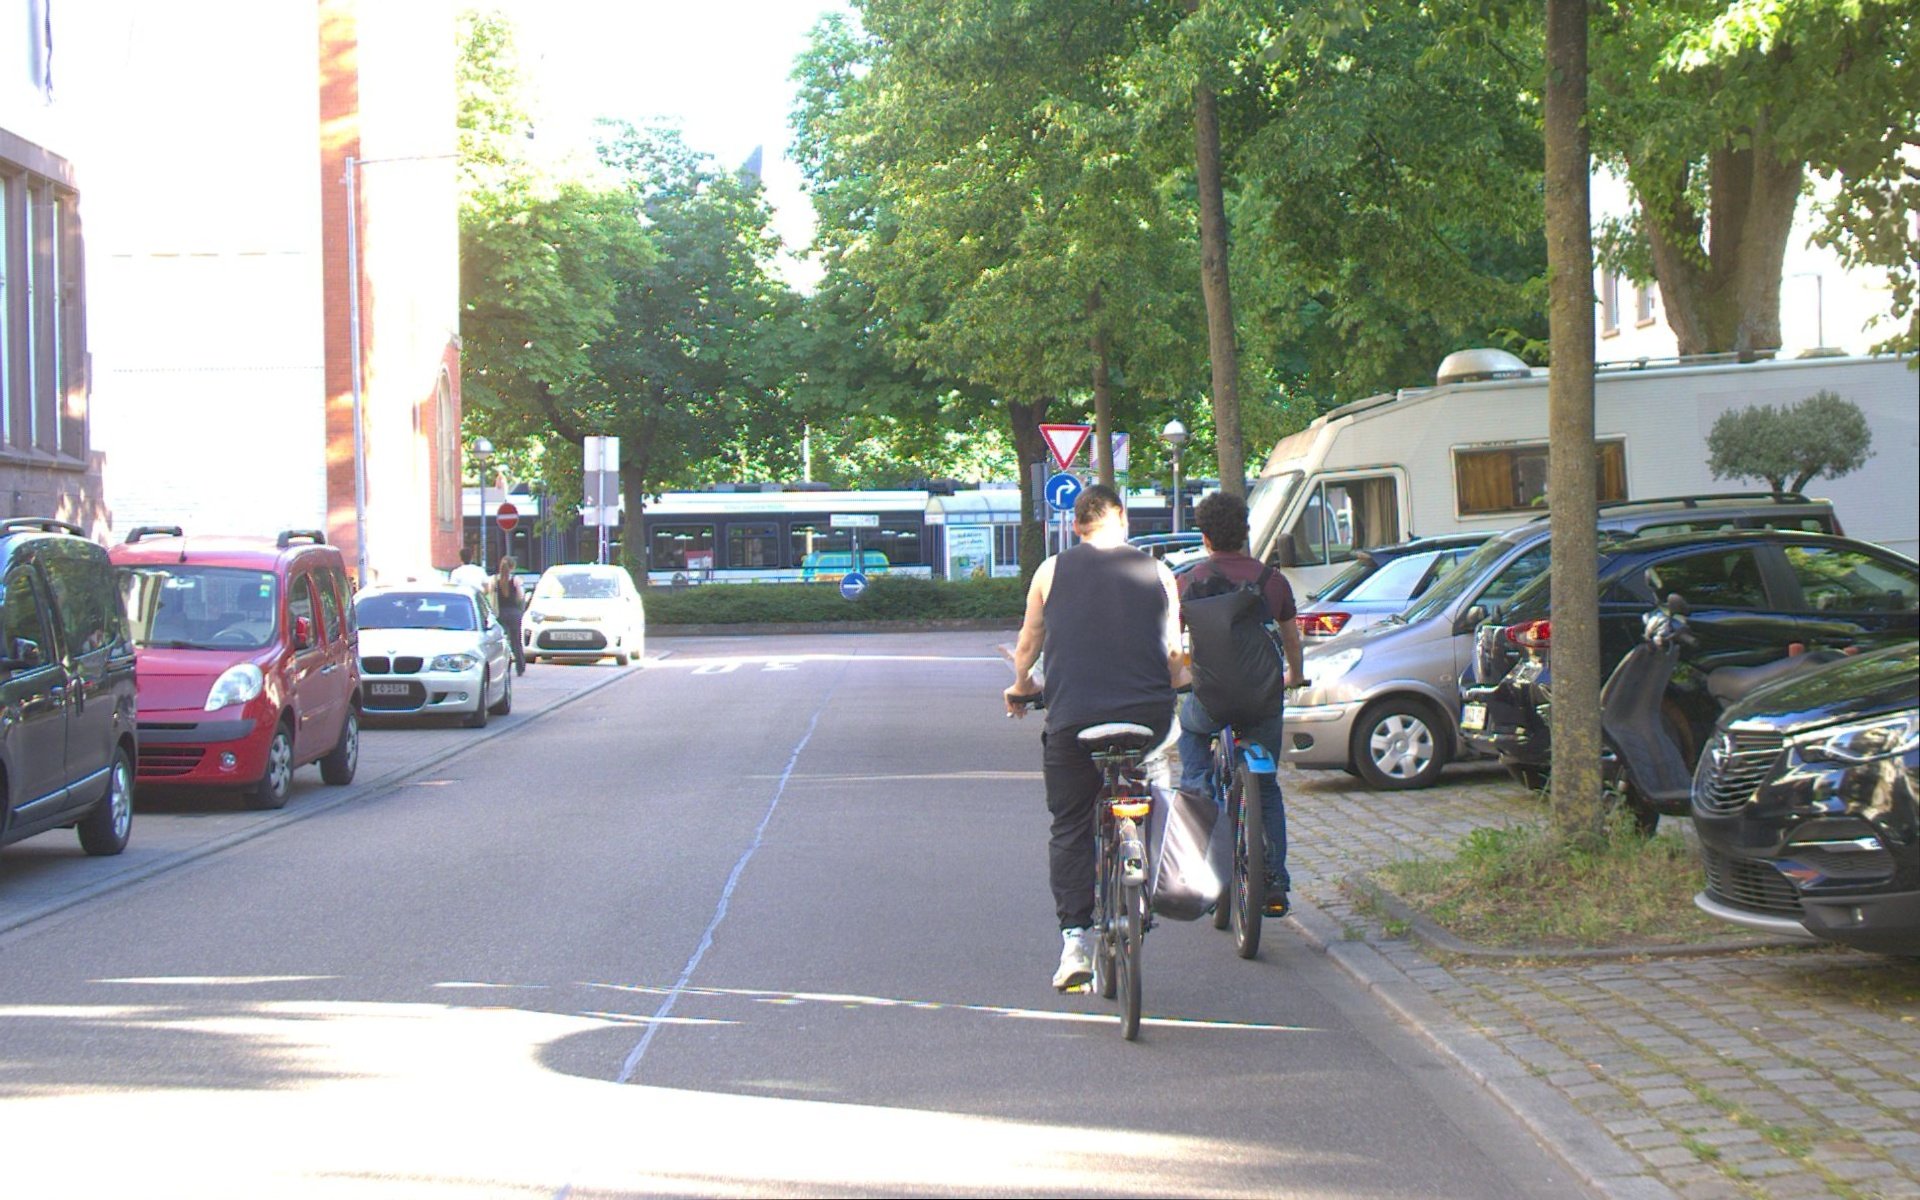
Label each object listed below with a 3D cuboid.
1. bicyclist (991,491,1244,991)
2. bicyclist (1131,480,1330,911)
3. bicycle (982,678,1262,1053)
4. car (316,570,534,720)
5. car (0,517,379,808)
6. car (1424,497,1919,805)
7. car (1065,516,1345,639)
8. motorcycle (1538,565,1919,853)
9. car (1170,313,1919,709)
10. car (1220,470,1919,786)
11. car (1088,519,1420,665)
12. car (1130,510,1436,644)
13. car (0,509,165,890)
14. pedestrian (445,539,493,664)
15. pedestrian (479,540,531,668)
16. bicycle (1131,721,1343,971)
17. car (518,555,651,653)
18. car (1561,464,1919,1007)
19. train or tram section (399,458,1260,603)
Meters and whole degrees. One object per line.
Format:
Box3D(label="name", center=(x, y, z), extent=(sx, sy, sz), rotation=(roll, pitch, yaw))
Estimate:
Box3D(label="bicyclist", center=(0.493, 0.438, 11.128), extent=(0.729, 1.542, 0.884), rotation=(1, 0, -2))
Box3D(label="bicyclist", center=(1.042, 0.354, 13.442), extent=(0.689, 1.621, 0.998), rotation=(0, 1, 0))
Box3D(label="bicycle", center=(0.487, 0.809, 11.150), extent=(0.737, 1.050, 1.956), rotation=(1, 0, -2))
Box3D(label="car", center=(-5.387, 0.414, 35.034), extent=(1.583, 1.339, 4.131), rotation=(1, 1, 0))
Box3D(label="car", center=(-5.267, 0.349, 24.016), extent=(1.688, 1.819, 4.273), rotation=(1, 1, 0))
Box3D(label="car", center=(4.857, 0.263, 19.434), extent=(4.138, 1.594, 1.702), rotation=(-2, -1, -3))
Box3D(label="car", center=(3.648, -0.336, 51.670), extent=(3.986, 1.797, 1.834), rotation=(0, 0, -3))
Box3D(label="motorcycle", center=(3.312, 0.441, 14.374), extent=(1.605, 1.137, 0.671), rotation=(-1, 1, 33))
Box3D(label="car", center=(5.566, -0.781, 29.485), extent=(7.146, 2.968, 2.465), rotation=(-3, 1, -3))
Box3D(label="car", center=(3.840, 0.160, 21.909), extent=(4.082, 1.644, 1.641), rotation=(-4, 1, -2))
Box3D(label="car", center=(3.705, -0.105, 43.784), extent=(3.986, 1.797, 1.834), rotation=(0, 0, -3))
Box3D(label="car", center=(4.429, -0.314, 47.542), extent=(3.986, 1.797, 1.834), rotation=(0, 0, -3))
Box3D(label="car", center=(-5.322, 0.429, 17.298), extent=(1.640, 1.777, 4.354), rotation=(1, 1, 0))
Box3D(label="pedestrian", center=(-6.945, 0.021, 48.663), extent=(0.609, 1.756, 0.432), rotation=(0, 0, 0))
Box3D(label="pedestrian", center=(-6.029, 0.051, 45.559), extent=(0.609, 1.673, 0.518), rotation=(0, 0, 0))
Box3D(label="bicycle", center=(1.056, 0.929, 13.451), extent=(0.633, 0.796, 1.833), rotation=(-2, 1, -1))
Box3D(label="car", center=(-5.703, 0.029, 52.599), extent=(1.583, 1.371, 4.131), rotation=(1, 1, 0))
Box3D(label="car", center=(4.164, 0.368, 11.045), extent=(4.139, 1.594, 1.702), rotation=(-2, -1, 1))
Box3D(label="train or tram section", center=(-3.272, -1.791, 95.114), extent=(23.800, 3.696, 4.287), rotation=(0, 0, -23))
